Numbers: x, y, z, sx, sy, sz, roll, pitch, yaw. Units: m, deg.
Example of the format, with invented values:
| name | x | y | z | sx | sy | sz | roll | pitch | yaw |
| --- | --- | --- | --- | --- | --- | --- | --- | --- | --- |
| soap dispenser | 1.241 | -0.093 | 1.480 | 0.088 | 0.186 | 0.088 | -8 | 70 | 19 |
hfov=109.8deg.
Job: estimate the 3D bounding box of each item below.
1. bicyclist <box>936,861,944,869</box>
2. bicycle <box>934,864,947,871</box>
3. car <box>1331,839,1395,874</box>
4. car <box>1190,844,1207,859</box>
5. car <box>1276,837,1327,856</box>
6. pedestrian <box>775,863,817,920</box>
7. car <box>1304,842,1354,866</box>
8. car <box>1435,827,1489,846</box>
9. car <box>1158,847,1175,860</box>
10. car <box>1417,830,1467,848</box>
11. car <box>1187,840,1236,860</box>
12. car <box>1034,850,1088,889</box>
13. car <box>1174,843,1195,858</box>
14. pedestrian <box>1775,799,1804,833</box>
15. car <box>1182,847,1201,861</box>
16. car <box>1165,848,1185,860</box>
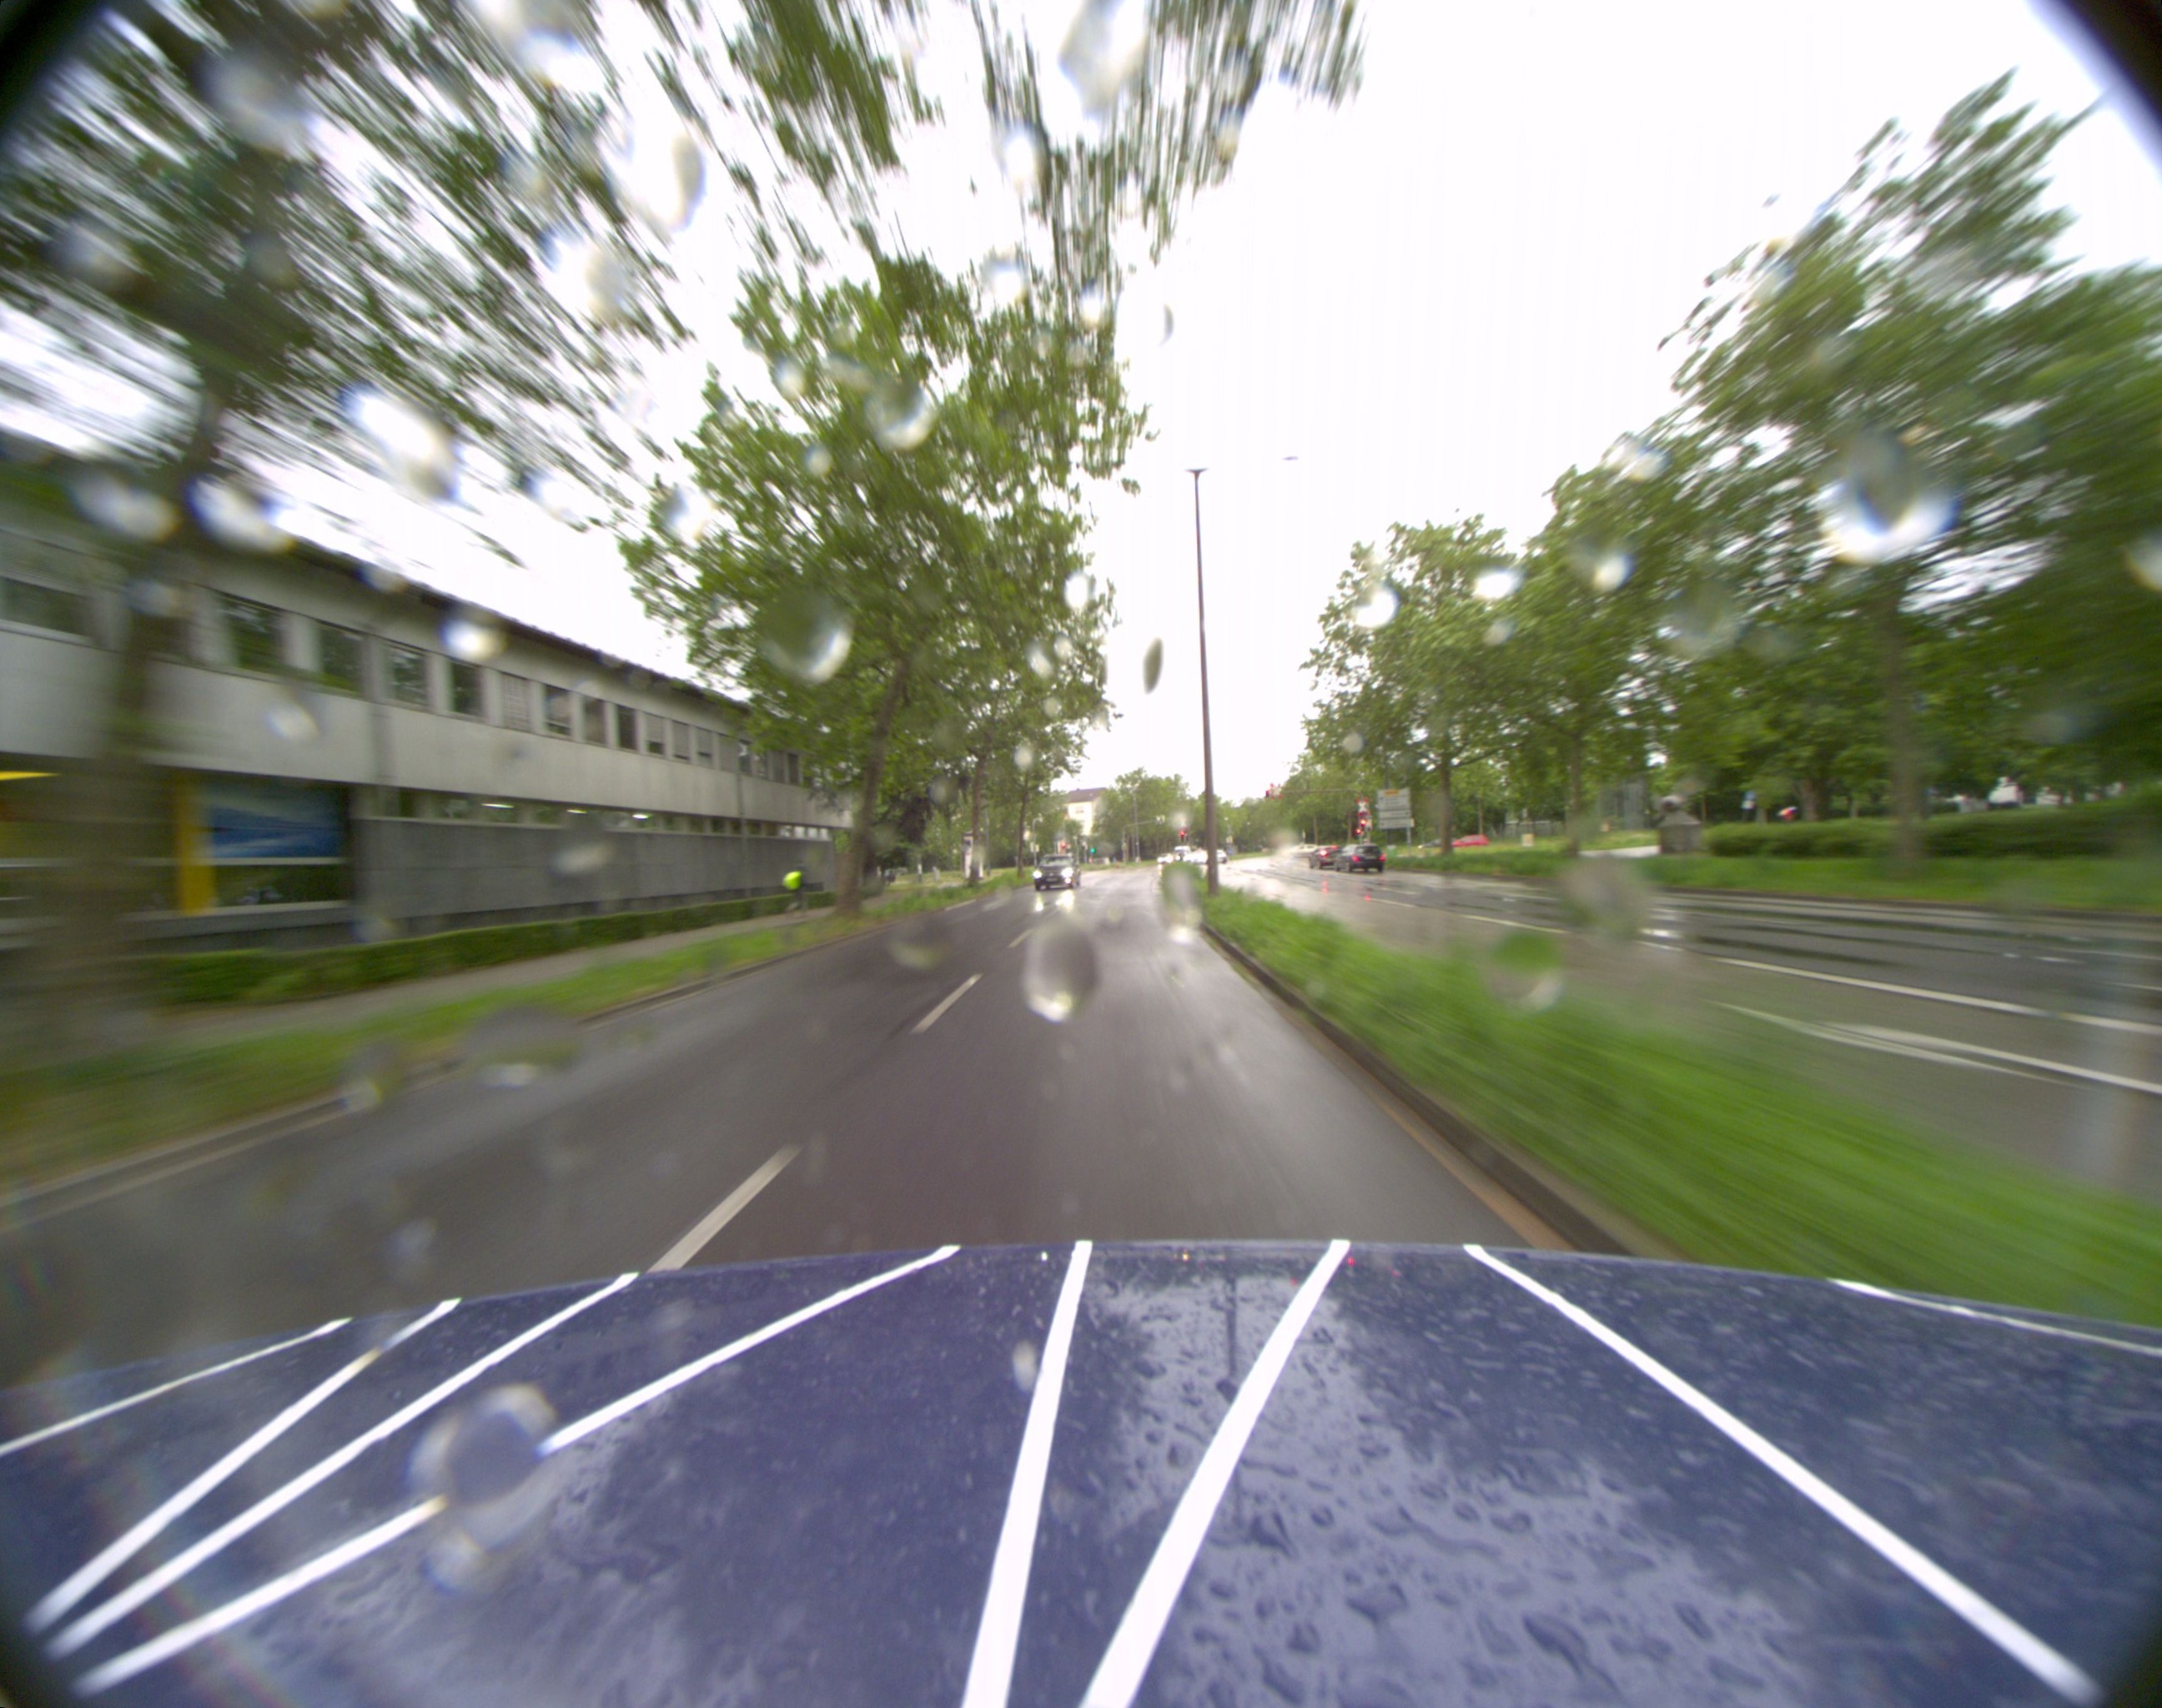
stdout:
| name | x | y | z | sx | sy | sz | roll | pitch | yaw |
| --- | --- | --- | --- | --- | --- | --- | --- | --- | --- |
| bicyclist | -19.742 | 1.514 | 106.662 | 0.742 | 1.138 | 0.684 | -3 | 1 | 32 |
| bicycle | -19.750 | 1.839 | 106.698 | 1.860 | 0.880 | 0.684 | -3 | 1 | 32 |
| car | 14.824 | 0.113 | 40.134 | 1.998 | 1.622 | 4.332 | -3 | 1 | 5 |
| car | 17.024 | -0.398 | 110.193 | 1.997 | 1.876 | 4.526 | -3 | 1 | 14 |
| car | 22.735 | -0.751 | 78.404 | 4.503 | 1.620 | 1.999 | -4 | 1 | -8 |
| pedestrian | -8.994 | 1.169 | 24.003 | 0.832 | 1.685 | 0.900 | -3 | 1 | 8 |
| car | 15.603 | -0.038 | 48.051 | 1.998 | 1.366 | 4.332 | -3 | 1 | 5 |
| car | 37.539 | -1.746 | 74.981 | 4.512 | 1.620 | 2.003 | -3 | 1 | 23 |
| car | 11.735 | -0.053 | 104.145 | 1.997 | 1.620 | 4.524 | -3 | 1 | 9 |
| car | 37.029 | -1.546 | 78.002 | 4.512 | 1.620 | 2.003 | -3 | 1 | 23 |
| car | 12.508 | -0.401 | 72.791 | 4.529 | 1.620 | 1.995 | -4 | 1 | -37 |
| car | -0.888 | 0.701 | 37.219 | 1.998 | 1.585 | 5.591 | -3 | 1 | 5 |
| car | 16.104 | -0.598 | 118.392 | 1.996 | 2.096 | 5.150 | -3 | 1 | 21 |
| pedestrian | 44.810 | -2.392 | 48.062 | 0.898 | 2.002 | 1.020 | -3 | 1 | 10 |
| car | 15.082 | 0.006 | 103.346 | 1.996 | 1.620 | 4.526 | -3 | 1 | 15 |
| car | 13.941 | 0.009 | 112.033 | 1.996 | 1.620 | 4.527 | -3 | 1 | 18 |
